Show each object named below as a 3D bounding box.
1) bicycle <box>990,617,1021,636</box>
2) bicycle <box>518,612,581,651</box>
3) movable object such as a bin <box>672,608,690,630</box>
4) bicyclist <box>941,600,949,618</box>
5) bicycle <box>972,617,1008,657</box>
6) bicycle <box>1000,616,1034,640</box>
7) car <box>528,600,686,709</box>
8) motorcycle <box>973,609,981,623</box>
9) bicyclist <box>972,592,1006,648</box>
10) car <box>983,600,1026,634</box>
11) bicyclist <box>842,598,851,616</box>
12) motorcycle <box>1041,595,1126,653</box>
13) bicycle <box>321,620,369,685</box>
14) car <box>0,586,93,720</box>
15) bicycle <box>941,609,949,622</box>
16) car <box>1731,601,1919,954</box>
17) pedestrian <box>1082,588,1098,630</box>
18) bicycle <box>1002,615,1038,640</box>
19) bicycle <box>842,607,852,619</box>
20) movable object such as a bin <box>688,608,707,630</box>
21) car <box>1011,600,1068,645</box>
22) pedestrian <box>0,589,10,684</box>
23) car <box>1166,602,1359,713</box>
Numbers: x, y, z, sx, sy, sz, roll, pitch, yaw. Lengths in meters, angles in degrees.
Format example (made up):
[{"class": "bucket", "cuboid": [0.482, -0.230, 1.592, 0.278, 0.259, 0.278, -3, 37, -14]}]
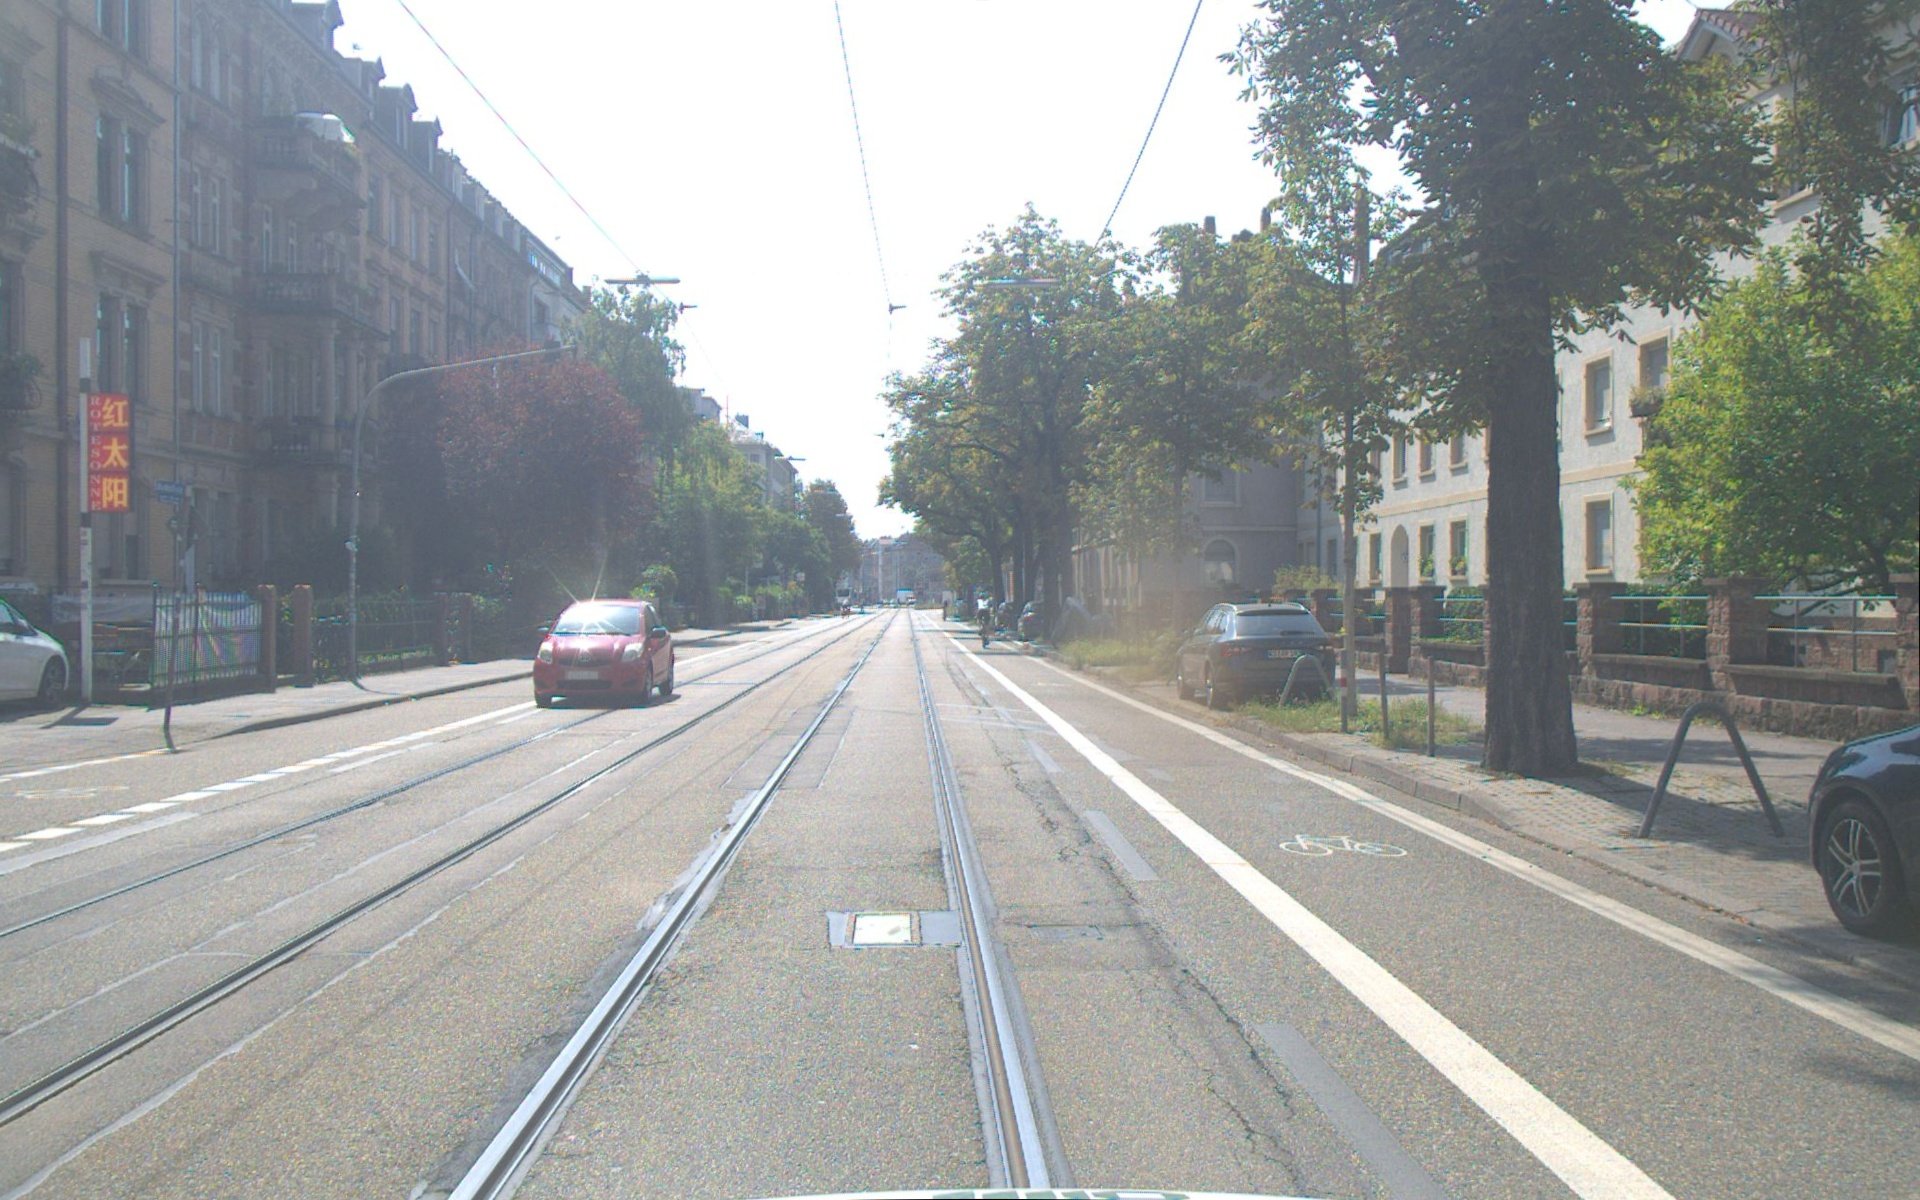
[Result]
[{"class": "bicycle", "cuboid": [2.475, 1.443, 90.944, 1.678, 1.050, 0.566, 0, -1, -1]}, {"class": "bicycle", "cuboid": [-12.900, 0.987, 52.018, 1.775, 1.202, 0.716, 1, -1, 0]}, {"class": "movable object such as a bin", "cuboid": [-14.213, 0.957, 84.343, 0.770, 1.094, 0.803, 1, -1, 1]}, {"class": "bicyclist", "cuboid": [-1.126, 0.658, 122.734, 0.567, 1.301, 0.471, 0, -1, 0]}, {"class": "bicycle", "cuboid": [0.979, 1.229, 55.373, 1.124, 1.291, 2.712, 0, 0, 0]}, {"class": "bicycle", "cuboid": [2.633, 1.292, 76.546, 1.572, 1.123, 0.399, 0, -1, 4]}, {"class": "car", "cuboid": [-5.329, 0.772, 25.418, 1.697, 1.516, 3.998, -1, 0, -2]}, {"class": "motorcycle", "cuboid": [1.337, 1.281, 132.869, 0.538, 1.086, 2.329, 0, -1, -2]}, {"class": "bicyclist", "cuboid": [0.967, 0.683, 55.532, 1.102, 1.869, 0.955, 0, -1, -1]}, {"class": "car", "cuboid": [2.141, 0.809, 80.774, 1.803, 1.559, 4.777, -2, 0, -2]}, {"class": "bicyclist", "cuboid": [-9.275, 0.574, 135.619, 0.744, 1.416, 0.778, 0, -1, -4]}, {"class": "motorcycle", "cuboid": [3.545, 0.703, 47.590, 2.302, 1.567, 0.964, -3, -3, 40]}, {"class": "bicycle", "cuboid": [-11.067, 0.921, 29.781, 0.382, 1.118, 1.567, 0, 0, -4]}, {"class": "car", "cuboid": [-12.623, 0.655, 20.342, 1.955, 1.622, 4.354, 0, 0, -5]}, {"class": "bicycle", "cuboid": [-1.122, 1.122, 122.732, 0.576, 0.955, 2.171, 0, -1, 0]}, {"class": "car", "cuboid": [4.972, 0.753, 6.467, 1.720, 1.503, 4.384, 0, 0, -3]}, {"class": "pedestrian", "cuboid": [5.965, 0.409, 75.943, 0.692, 1.925, 0.714, 0, -1, 0]}, {"class": "bicycle", "cuboid": [2.785, 1.284, 76.931, 1.686, 1.170, 0.377, 0, -1, 4]}, {"class": "bicycle", "cuboid": [-9.276, 1.073, 135.646, 0.744, 1.008, 2.296, 0, -1, -4]}, {"class": "movable object such as a bin", "cuboid": [-13.385, 0.974, 84.380, 0.770, 1.094, 0.803, 1, -1, 1]}, {"class": "car", "cuboid": [3.008, 0.850, 63.381, 1.803, 1.559, 4.113, -1, 1, -2]}, {"class": "pedestrian", "cuboid": [-15.862, 0.586, 26.496, 0.851, 1.537, 0.884, 0, 0, -10]}, {"class": "car", "cuboid": [4.436, 0.795, 24.995, 1.854, 1.503, 4.838, 0, 0, -2]}]
